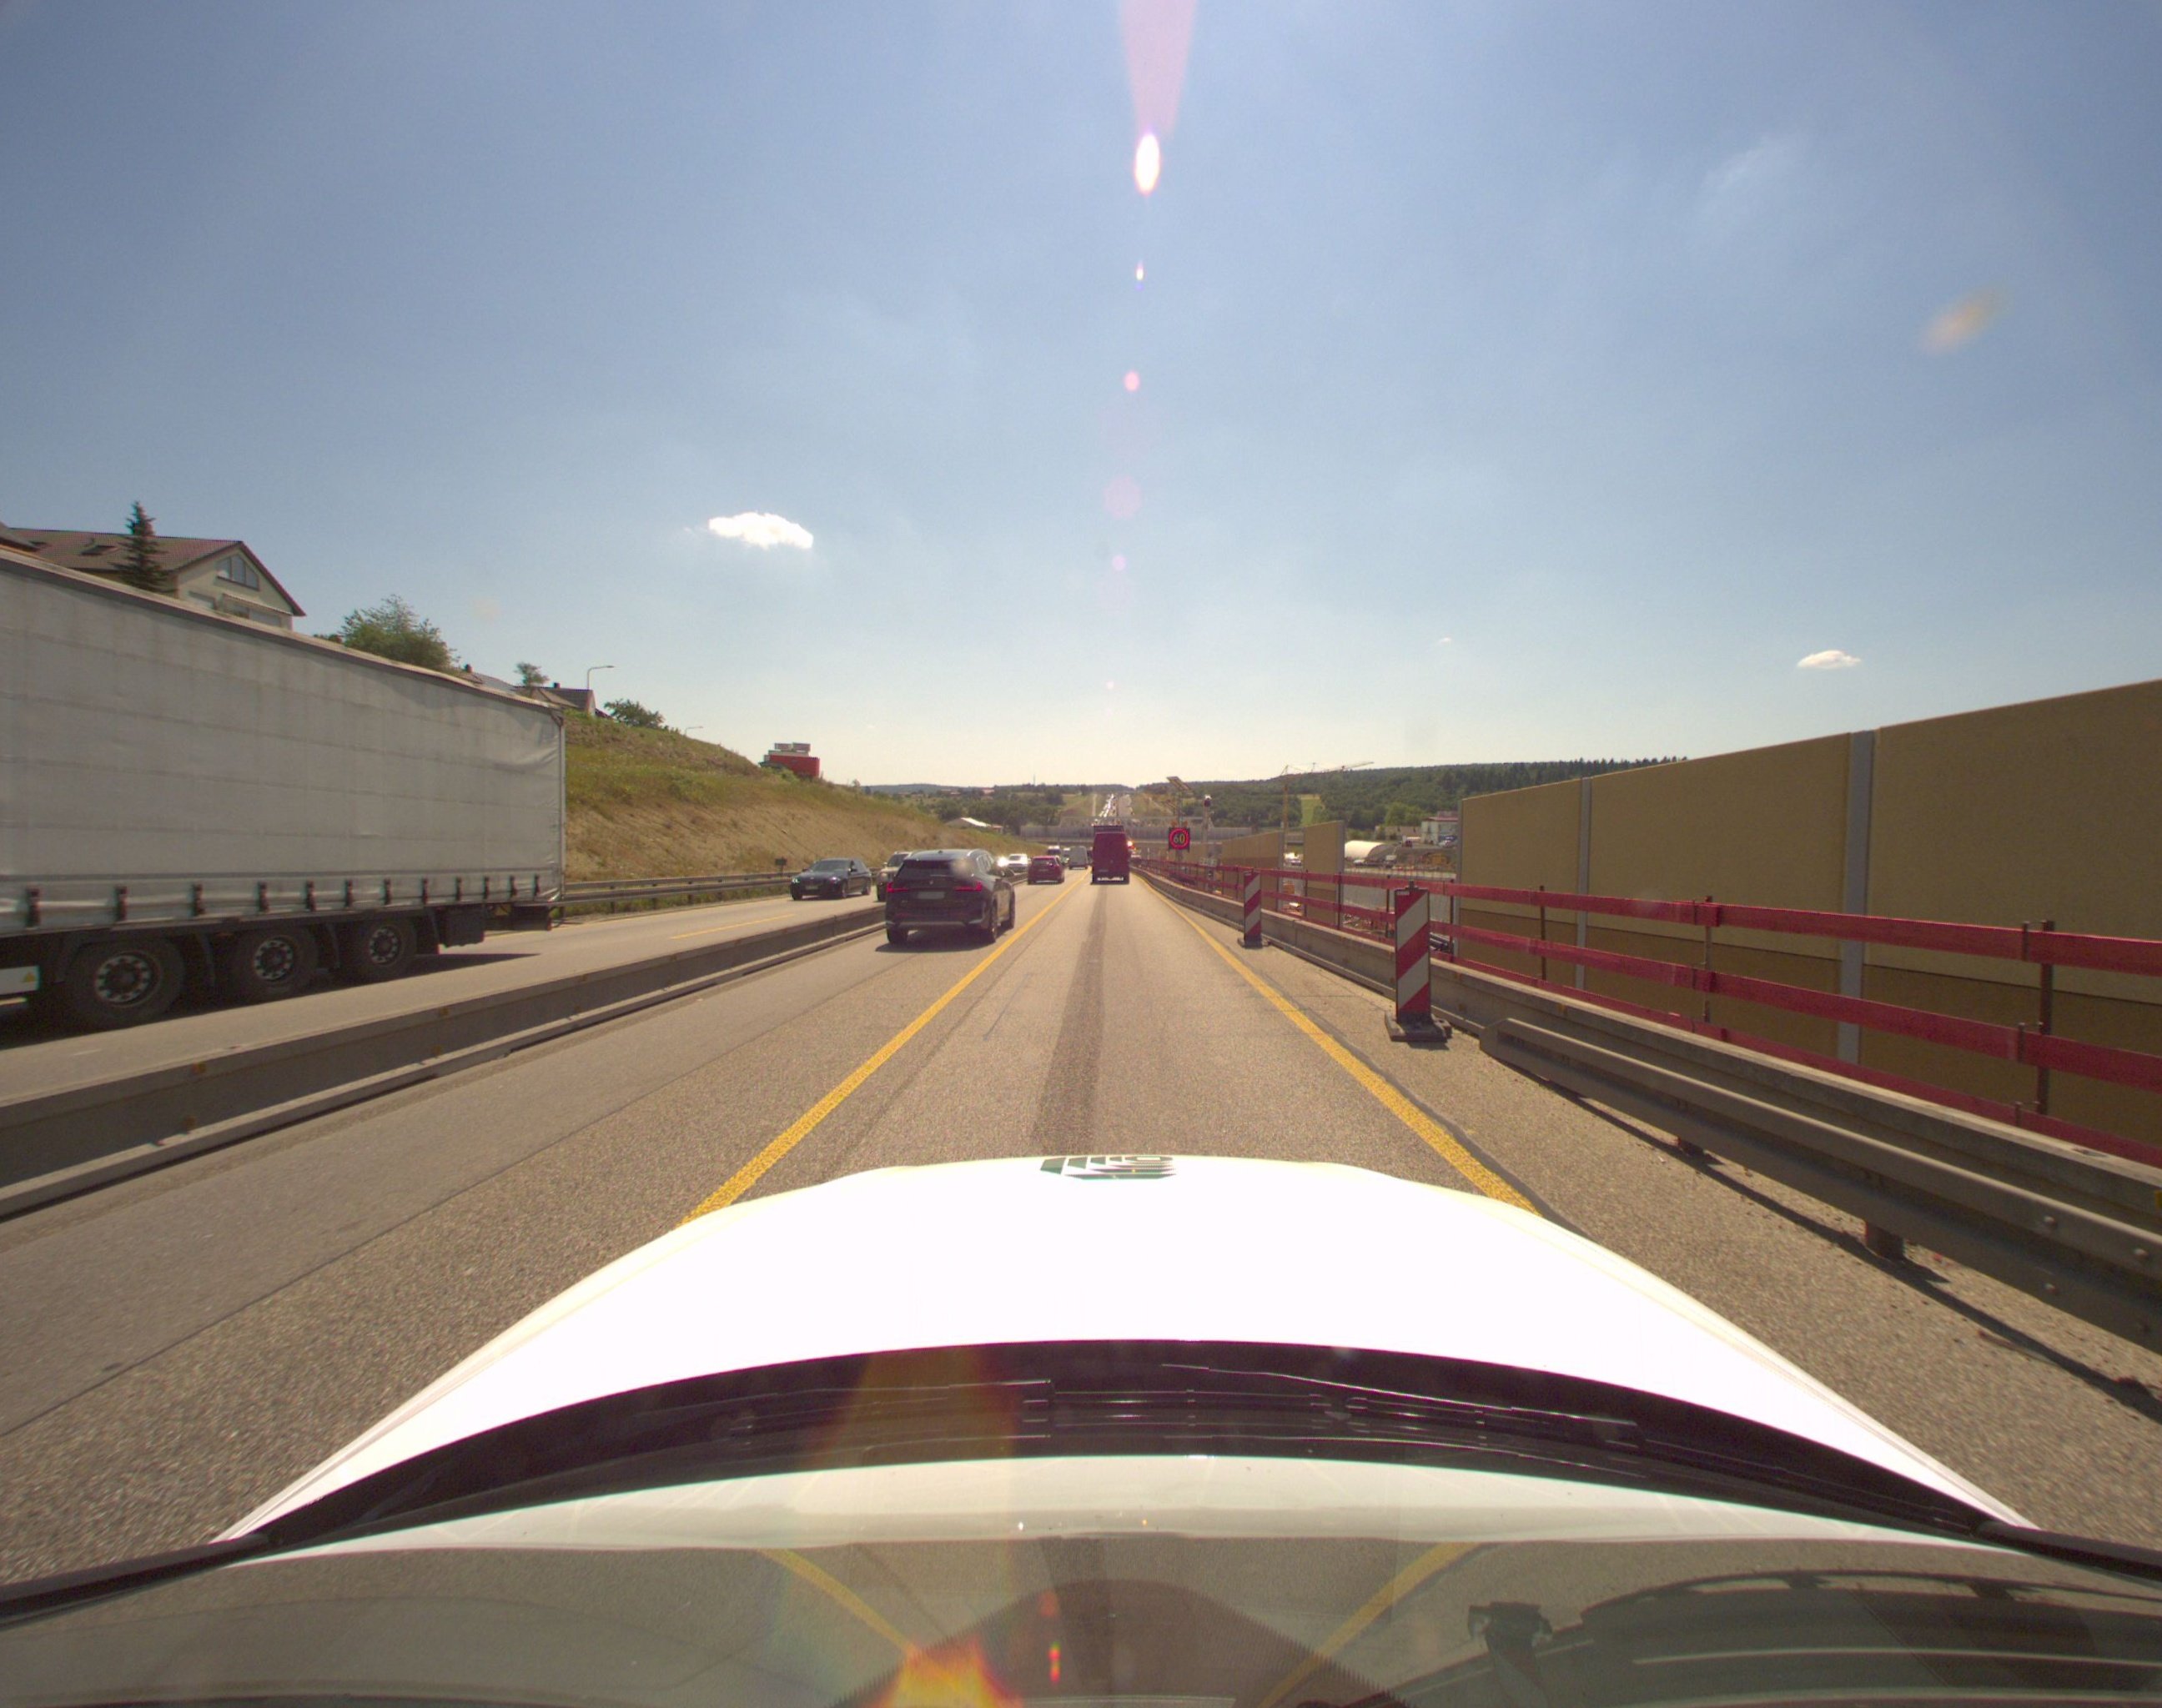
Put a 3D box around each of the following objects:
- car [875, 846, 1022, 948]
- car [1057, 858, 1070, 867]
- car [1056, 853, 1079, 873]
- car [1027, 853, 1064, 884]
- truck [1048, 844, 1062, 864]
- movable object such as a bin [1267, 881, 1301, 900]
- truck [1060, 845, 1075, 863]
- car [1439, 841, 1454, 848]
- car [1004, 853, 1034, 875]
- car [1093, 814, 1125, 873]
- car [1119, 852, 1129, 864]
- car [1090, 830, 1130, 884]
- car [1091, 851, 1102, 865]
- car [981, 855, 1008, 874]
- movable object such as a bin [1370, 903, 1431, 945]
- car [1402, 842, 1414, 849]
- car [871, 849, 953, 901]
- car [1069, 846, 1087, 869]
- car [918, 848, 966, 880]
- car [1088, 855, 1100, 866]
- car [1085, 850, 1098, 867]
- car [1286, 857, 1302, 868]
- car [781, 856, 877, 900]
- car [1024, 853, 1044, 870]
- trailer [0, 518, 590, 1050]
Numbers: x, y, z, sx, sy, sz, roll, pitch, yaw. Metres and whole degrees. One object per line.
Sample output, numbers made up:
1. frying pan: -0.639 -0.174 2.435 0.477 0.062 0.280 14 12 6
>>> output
1. car: -2.296 0.696 15.329 1.873 1.618 4.501 -1 0 2
2. car: -2.833 1.322 129.397 1.790 1.427 4.951 -1 0 1
3. car: -1.133 0.755 72.020 1.833 1.654 4.166 -1 0 1
4. car: -1.845 0.744 43.356 1.770 1.517 4.204 -1 0 -1
5. truck: -5.229 0.050 163.703 2.688 4.050 3.956 0 0 1
6. movable object such as a bin: 29.137 5.174 117.035 3.150 2.446 7.899 2 0 2
7. truck: -2.475 -0.033 155.267 2.529 3.374 7.040 0 0 1
8. car: 77.002 -1.999 171.559 1.673 1.517 4.079 0 0 4
9. car: -4.770 0.734 63.296 1.833 1.654 5.372 -1 0 1
10. car: 2.545 -0.880 75.064 2.611 5.032 10.400 -1 0 2
11. car: 8.362 0.739 158.383 1.769 2.330 4.207 -1 0 2
12. car: 1.524 0.165 43.438 1.981 2.690 4.625 -1 0 2
13. car: 2.773 0.705 146.397 1.769 2.330 4.207 -1 0 2
14. car: -7.636 0.882 72.273 1.678 1.585 5.128 0 0 2
15. movable object such as a bin: 22.244 4.856 56.988 2.599 2.489 4.455 1 0 1
16. car: 69.417 -1.773 172.993 1.508 1.316 3.433 0 0 4
17. car: -5.844 0.711 28.726 1.826 1.666 4.415 -1 0 1
18. car: -0.335 0.349 90.536 1.769 2.441 4.207 -1 0 2
19. car: -8.851 0.603 52.299 2.031 1.926 5.122 -2 0 1
20. car: 2.060 0.970 124.980 1.769 1.670 4.030 -1 0 2
21. car: 1.437 0.597 110.149 1.769 2.330 4.207 -1 0 2
22. car: 40.227 1.572 154.000 1.800 2.014 4.824 0 0 0
23. car: -9.260 0.834 30.362 1.986 1.507 4.720 0 0 1
24. car: -5.027 0.808 87.137 1.769 1.791 4.207 -1 0 2
25. trailer: -9.874 -0.543 6.708 2.775 4.182 13.984 -1 0 2
